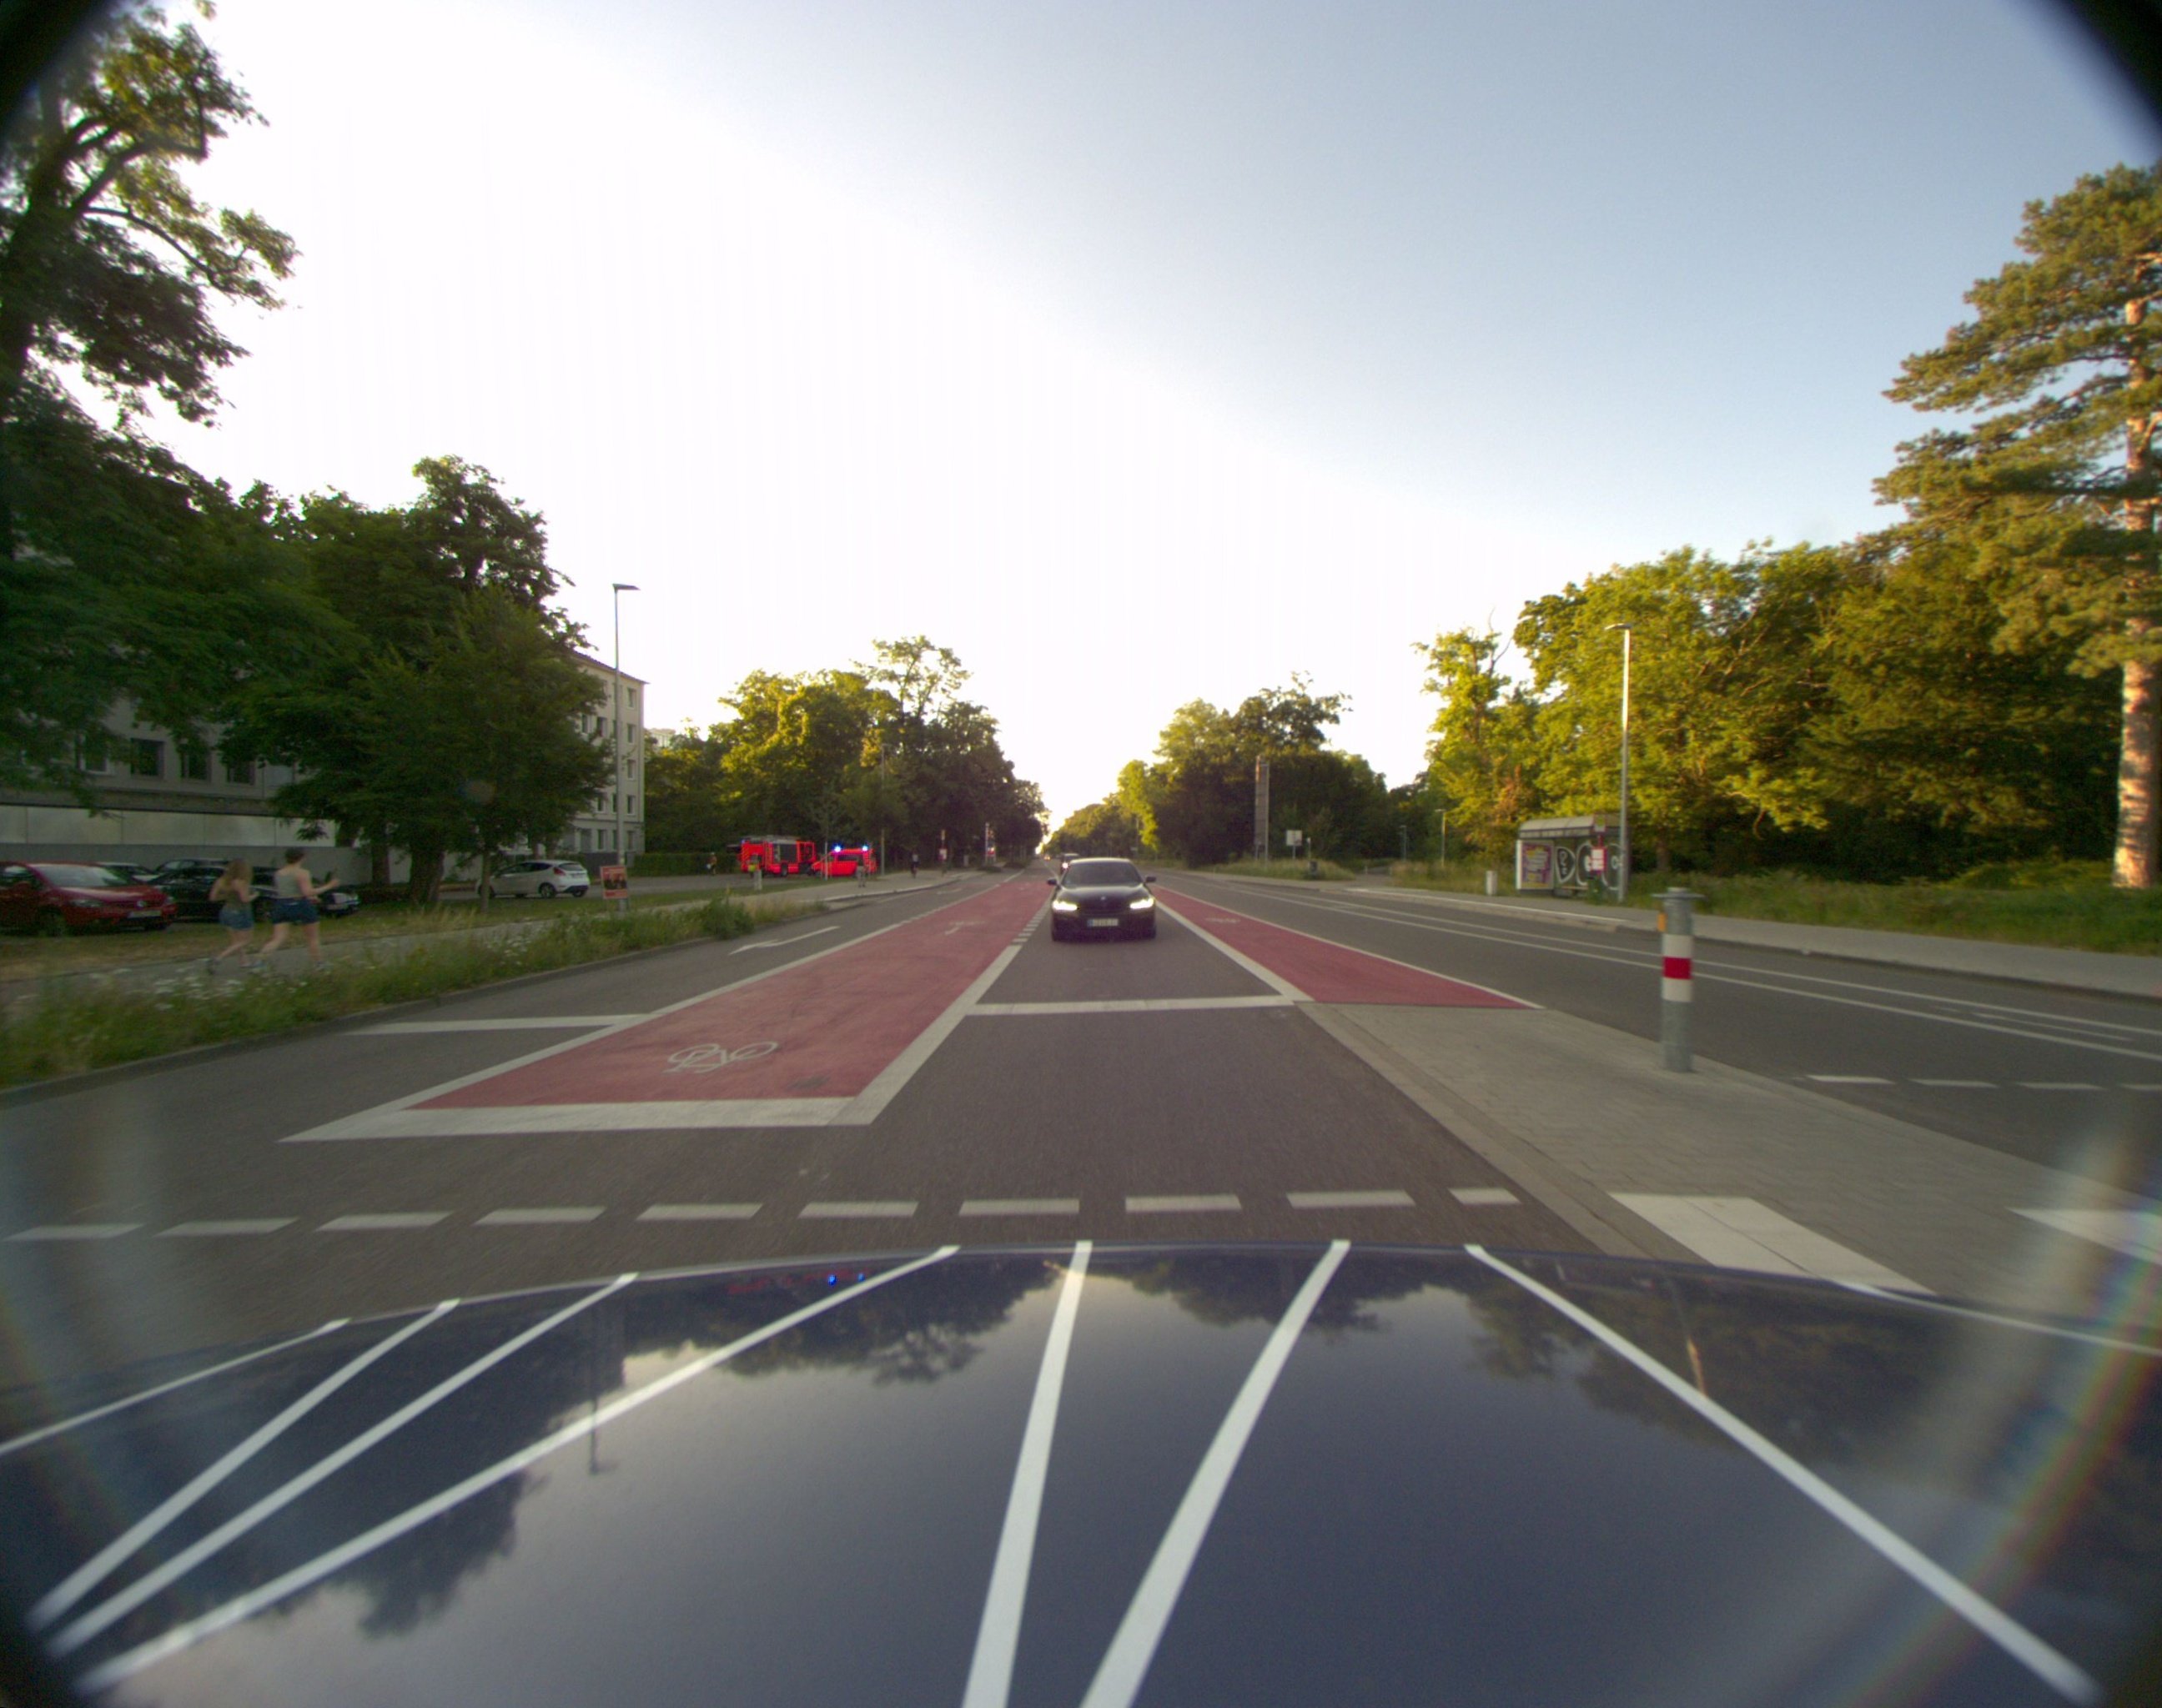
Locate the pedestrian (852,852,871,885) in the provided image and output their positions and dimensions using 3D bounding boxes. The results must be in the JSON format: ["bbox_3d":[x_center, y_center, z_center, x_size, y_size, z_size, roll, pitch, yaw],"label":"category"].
[{"bbox_3d":[-10.711,0.714,37.090,0.682,1.613,0.688,0,0,0],"label":"pedestrian"}]

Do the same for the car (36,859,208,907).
[{"bbox_3d":[-32.375,0.945,25.701,3.911,1.513,1.919,0,1,9],"label":"car"}]

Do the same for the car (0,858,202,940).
[{"bbox_3d":[-21.873,0.912,16.366,3.994,1.601,1.920,0,1,7],"label":"car"}]

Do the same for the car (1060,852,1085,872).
[{"bbox_3d":[-0.716,0.642,62.135,1.850,1.473,4.702,-2,0,-2],"label":"car"}]

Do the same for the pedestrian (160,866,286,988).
[{"bbox_3d":[-11.218,0.924,9.965,0.737,1.514,0.789,0,1,1],"label":"pedestrian"}]

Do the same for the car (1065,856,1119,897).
[{"bbox_3d":[0.350,0.821,29.381,1.850,1.346,4.702,-2,0,-1],"label":"car"}]

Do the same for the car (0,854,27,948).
[{"bbox_3d":[-22.023,0.861,13.530,4.234,1.730,1.919,0,1,6],"label":"car"}]

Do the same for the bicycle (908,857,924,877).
[{"bbox_3d":[-10.585,0.810,48.789,0.571,1.233,1.899,0,0,0],"label":"bicycle"}]

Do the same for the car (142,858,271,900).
[{"bbox_3d":[-32.220,0.894,28.030,3.308,1.451,1.772,0,1,13],"label":"car"}]

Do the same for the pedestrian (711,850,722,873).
[{"bbox_3d":[-29.450,0.608,61.440,0.683,1.831,0.844,0,0,-18],"label":"pedestrian"}]

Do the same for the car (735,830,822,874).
[{"bbox_3d":[-23.711,-0.145,60.165,2.770,3.225,8.301,0,0,7],"label":"car"}]

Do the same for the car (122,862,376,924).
[{"bbox_3d":[-21.105,0.964,19.400,4.516,1.455,1.919,0,1,3],"label":"car"}]

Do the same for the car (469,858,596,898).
[{"bbox_3d":[-20.751,0.891,28.821,3.662,1.451,1.665,0,1,5],"label":"car"}]

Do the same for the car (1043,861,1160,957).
[{"bbox_3d":[0.335,0.894,14.555,1.818,1.391,5.213,-1,0,0],"label":"car"}]

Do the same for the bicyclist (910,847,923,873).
[{"bbox_3d":[-10.582,0.372,48.870,0.571,1.623,1.038,0,1,0],"label":"bicyclist"}]

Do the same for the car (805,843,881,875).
[{"bbox_3d":[-18.017,0.373,57.663,5.164,2.379,2.000,0,1,3],"label":"car"}]

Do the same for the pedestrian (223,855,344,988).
[{"bbox_3d":[-10.310,0.847,9.849,0.721,1.650,0.776,0,1,1],"label":"pedestrian"}]
